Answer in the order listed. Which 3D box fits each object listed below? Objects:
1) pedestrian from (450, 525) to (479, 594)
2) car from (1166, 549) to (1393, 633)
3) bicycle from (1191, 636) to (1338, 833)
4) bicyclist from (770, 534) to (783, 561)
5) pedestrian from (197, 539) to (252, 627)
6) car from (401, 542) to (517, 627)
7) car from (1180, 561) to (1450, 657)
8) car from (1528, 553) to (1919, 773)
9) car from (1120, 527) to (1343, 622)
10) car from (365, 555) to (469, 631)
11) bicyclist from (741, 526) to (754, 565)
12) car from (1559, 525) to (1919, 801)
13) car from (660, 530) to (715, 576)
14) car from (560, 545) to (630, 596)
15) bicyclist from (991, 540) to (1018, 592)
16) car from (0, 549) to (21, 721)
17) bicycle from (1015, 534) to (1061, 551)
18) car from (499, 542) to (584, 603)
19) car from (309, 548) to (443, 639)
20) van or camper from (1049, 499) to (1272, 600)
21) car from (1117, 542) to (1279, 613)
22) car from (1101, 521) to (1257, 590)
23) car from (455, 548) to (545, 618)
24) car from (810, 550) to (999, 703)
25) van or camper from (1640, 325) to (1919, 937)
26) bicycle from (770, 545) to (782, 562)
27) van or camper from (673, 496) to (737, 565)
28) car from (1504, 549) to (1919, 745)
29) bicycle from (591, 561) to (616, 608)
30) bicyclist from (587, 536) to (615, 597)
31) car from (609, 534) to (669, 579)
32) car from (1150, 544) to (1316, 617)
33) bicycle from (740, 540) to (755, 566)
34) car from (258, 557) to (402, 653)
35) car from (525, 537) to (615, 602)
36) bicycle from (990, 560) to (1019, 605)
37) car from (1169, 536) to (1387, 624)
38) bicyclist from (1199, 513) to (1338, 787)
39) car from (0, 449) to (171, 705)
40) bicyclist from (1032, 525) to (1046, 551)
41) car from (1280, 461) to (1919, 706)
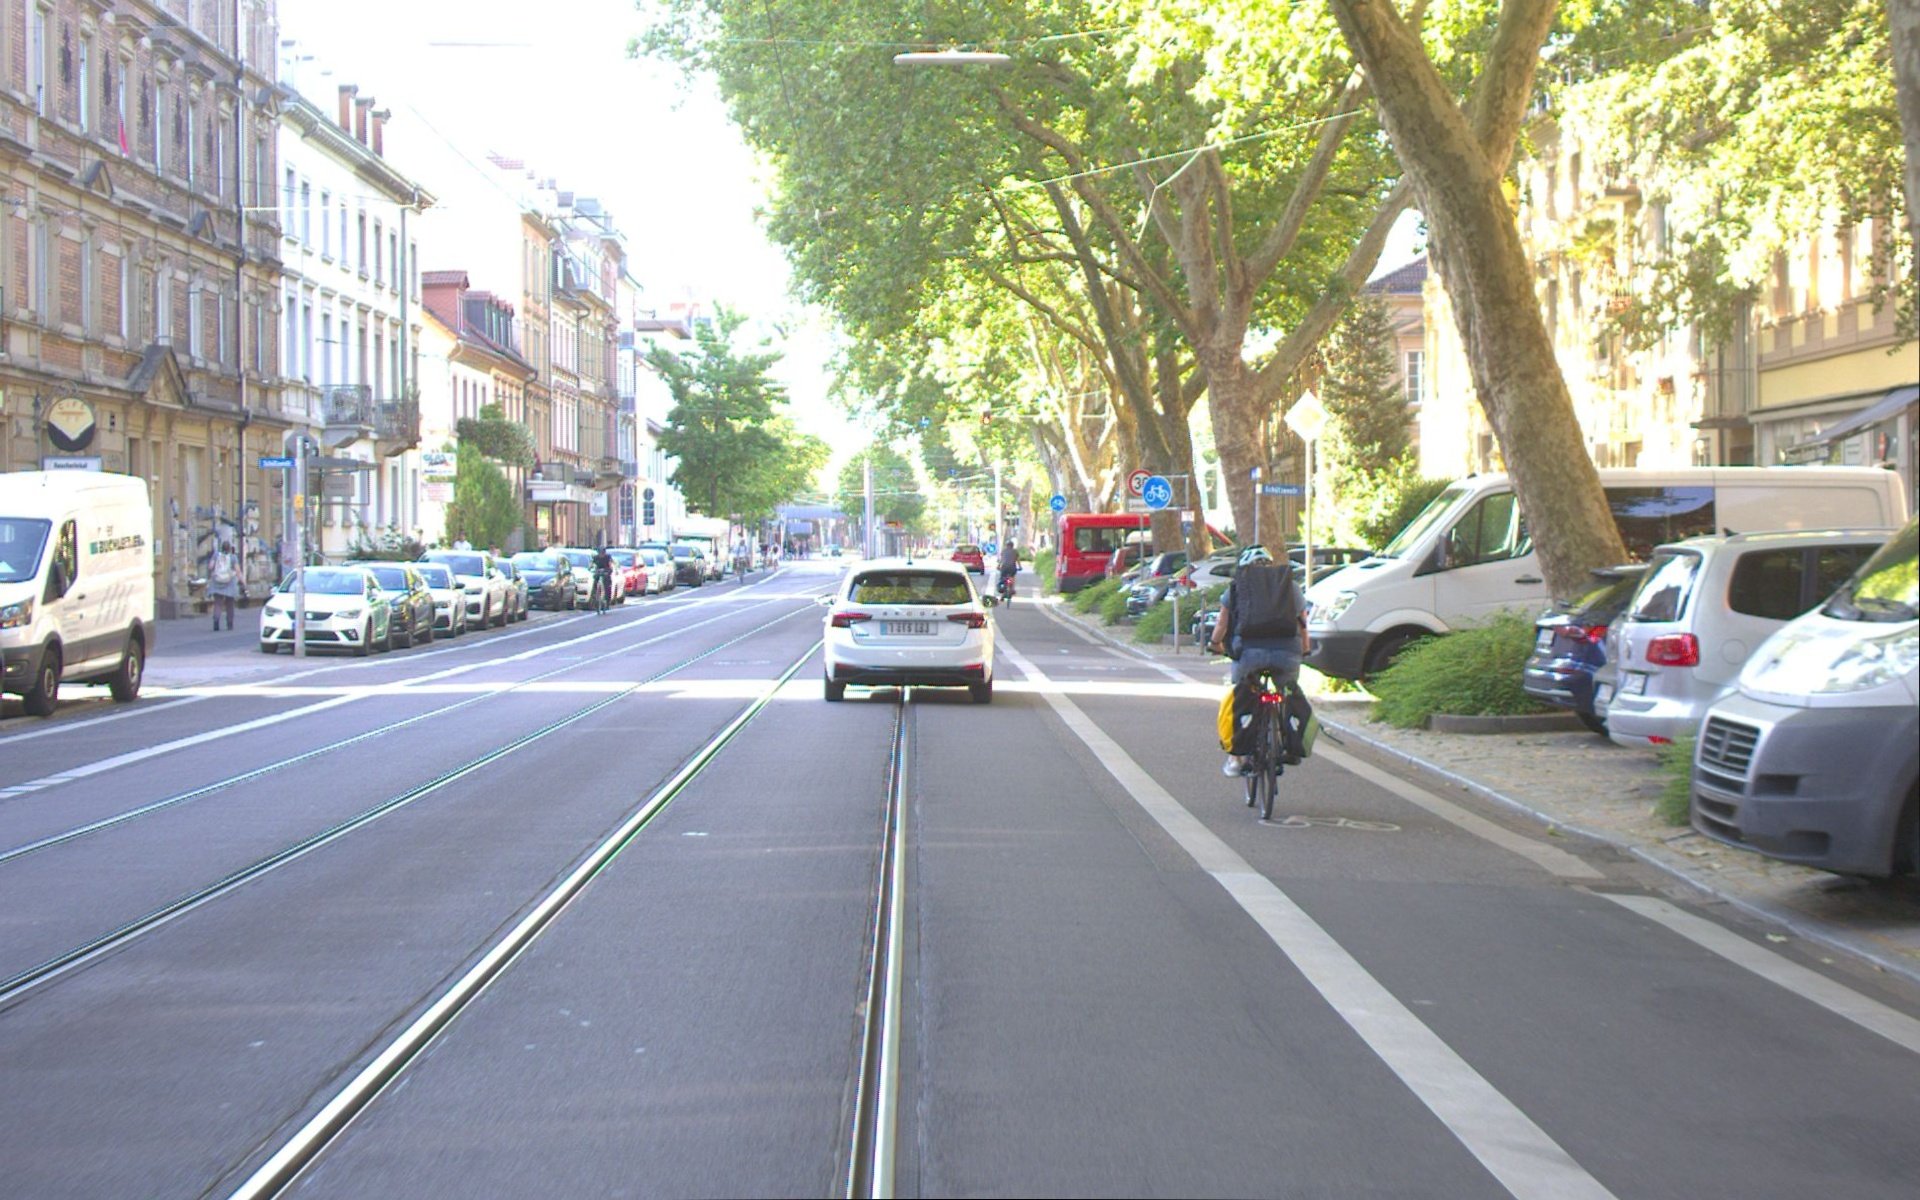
[{"bbox_3d":[-14.392,-1.175,99.899,0.759,2.007,0.830,0,1,-2],"label":"pedestrian"},{"bbox_3d":[5.959,-0.180,64.419,4.027,1.475,1.681,-1,1,-2],"label":"car"},{"bbox_3d":[1.784,0.766,20.458,0.595,1.001,2.511,3,1,0],"label":"bicycle"},{"bbox_3d":[-10.485,-3.013,196.421,0.638,1.498,1.070,-1,1,1],"label":"bicyclist"},{"bbox_3d":[-13.980,-0.328,65.359,0.663,1.659,0.767,1,1,31],"label":"pedestrian"},{"bbox_3d":[-10.606,-0.361,73.091,1.786,1.717,4.719,1,1,0],"label":"car"},{"bbox_3d":[5.676,0.136,55.315,4.096,1.486,1.831,0,1,-2],"label":"car"},{"bbox_3d":[6.198,0.417,24.561,3.954,1.473,1.796,-1,1,-1],"label":"car"},{"bbox_3d":[5.525,-0.531,70.265,4.261,1.713,1.849,-3,1,-2],"label":"car"},{"bbox_3d":[-10.683,-0.159,67.878,1.699,1.415,4.001,1,1,-4],"label":"car"},{"bbox_3d":[-8.924,-2.304,144.629,0.473,1.630,0.800,0,1,0],"label":"bicyclist"},{"bbox_3d":[5.951,0.362,21.722,3.954,1.650,1.796,-1,0,-3],"label":"car"},{"bbox_3d":[-11.194,-1.951,141.668,1.964,1.775,4.938,2,1,-2],"label":"car"},{"bbox_3d":[-11.017,-0.914,103.935,1.687,1.472,4.258,1,1,0],"label":"car"},{"bbox_3d":[1.159,-0.898,90.146,0.679,1.334,0.525,1,1,0],"label":"bicyclist"},{"bbox_3d":[-9.887,0.360,31.105,1.718,1.626,4.347,0,1,-2],"label":"car"},{"bbox_3d":[4.835,-3.563,212.526,2.771,0.996,0.592,1,1,15],"label":"bicycle"},{"bbox_3d":[-10.737,-0.726,88.408,1.554,1.510,3.924,-1,1,2],"label":"car"},{"bbox_3d":[-10.610,-0.151,62.732,1.740,1.557,4.787,1,1,-2],"label":"car"},{"bbox_3d":[5.446,-1.403,93.889,5.814,2.510,2.288,-2,2,-2],"label":"van or camper"},{"bbox_3d":[5.492,-0.536,79.584,3.595,1.512,1.694,-2,1,0],"label":"car"},{"bbox_3d":[5.687,-1.157,89.360,3.818,1.643,1.767,-2,0,-3],"label":"car"},{"bbox_3d":[-10.471,-0.414,78.439,1.662,1.515,4.065,1,1,-3],"label":"car"},{"bbox_3d":[-0.627,0.233,35.776,1.842,1.475,3.839,1,1,-2],"label":"car"},{"bbox_3d":[6.225,0.079,15.074,6.032,2.482,2.107,-1,1,-1],"label":"van or camper"},{"bbox_3d":[-10.514,-2.633,196.483,0.499,0.940,1.921,-2,1,1],"label":"bicycle"},{"bbox_3d":[-11.814,-3.228,159.615,2.216,3.129,7.113,1,1,1],"label":"van or camper"},{"bbox_3d":[6.477,0.338,27.089,4.053,1.455,1.796,-1,1,-2],"label":"car"},{"bbox_3d":[-8.857,-0.393,85.443,0.421,1.146,2.232,-1,0,-1],"label":"bicycle"},{"bbox_3d":[-8.914,-0.836,85.341,0.582,1.477,0.807,-1,1,-1],"label":"bicyclist"},{"bbox_3d":[-11.184,-1.543,120.035,1.827,1.497,4.689,1,1,-2],"label":"car"},{"bbox_3d":[6.110,-0.429,77.165,3.595,1.594,1.541,0,0,0],"label":"car"},{"bbox_3d":[-8.944,-1.966,144.473,0.481,1.082,1.846,0,1,1],"label":"bicycle"},{"bbox_3d":[-10.434,0.053,57.179,1.740,1.486,4.045,1,1,-2],"label":"car"},{"bbox_3d":[-10.582,-0.858,93.514,1.856,1.698,4.763,-1,1,1],"label":"car"},{"bbox_3d":[1.161,-0.473,90.025,0.680,1.151,2.964,1,1,0],"label":"bicycle"},{"bbox_3d":[6.201,-0.404,67.233,4.027,1.638,1.681,-1,1,-2],"label":"car"},{"bbox_3d":[1.825,0.281,20.447,0.614,1.547,0.935,4,1,0],"label":"bicyclist"},{"bbox_3d":[-10.197,-0.270,36.844,2.065,2.527,5.667,0,1,1],"label":"car"},{"bbox_3d":[4.887,-3.850,212.491,0.737,1.583,0.586,0,1,12],"label":"bicyclist"},{"bbox_3d":[6.203,-0.184,33.571,5.991,2.274,2.006,0,2,1],"label":"car"}]
